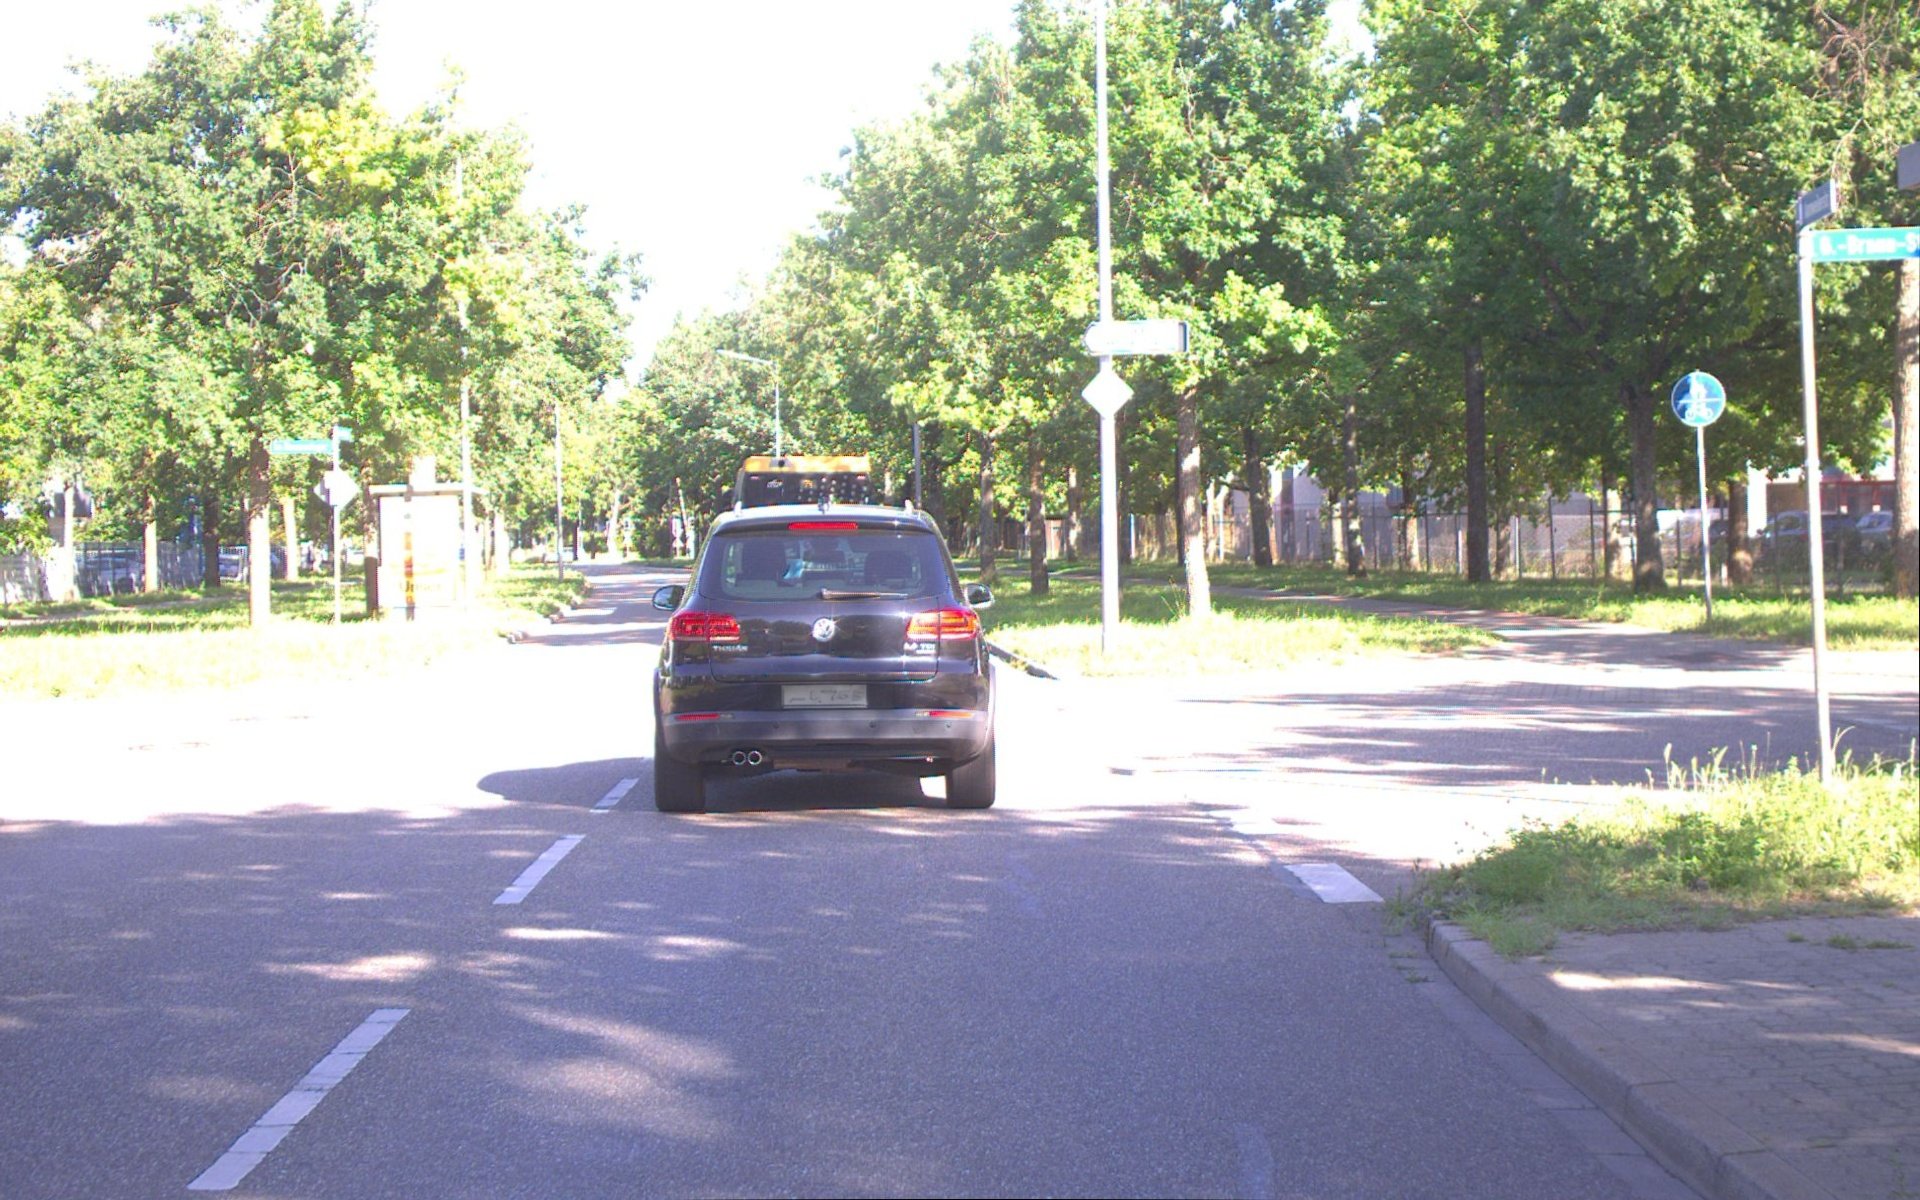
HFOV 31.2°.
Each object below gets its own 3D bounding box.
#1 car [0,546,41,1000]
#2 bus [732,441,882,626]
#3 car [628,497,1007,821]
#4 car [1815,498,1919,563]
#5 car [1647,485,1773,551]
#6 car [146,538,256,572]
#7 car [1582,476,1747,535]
[{"bbox_3d":[-3.938,0.642,9.442,1.744,1.460,4.428,-2,2,-2],"label":"car"},{"bbox_3d":[-3.239,-1.413,70.670,2.764,3.444,11.213,-1,2,-4],"label":"bus"},{"bbox_3d":[-0.750,0.237,19.822,1.936,1.650,4.427,0,2,-1],"label":"car"},{"bbox_3d":[25.781,-1.962,96.147,2.184,1.738,4.643,-1,2,-5],"label":"car"},{"bbox_3d":[20.764,-2.272,95.378,2.184,1.738,4.642,-1,2,-4],"label":"car"},{"bbox_3d":[-31.979,-1.913,144.889,4.198,1.316,1.942,-1,2,-2],"label":"car"},{"bbox_3d":[22.324,-2.997,109.046,4.625,1.738,2.192,-2,2,-10],"label":"car"}]
